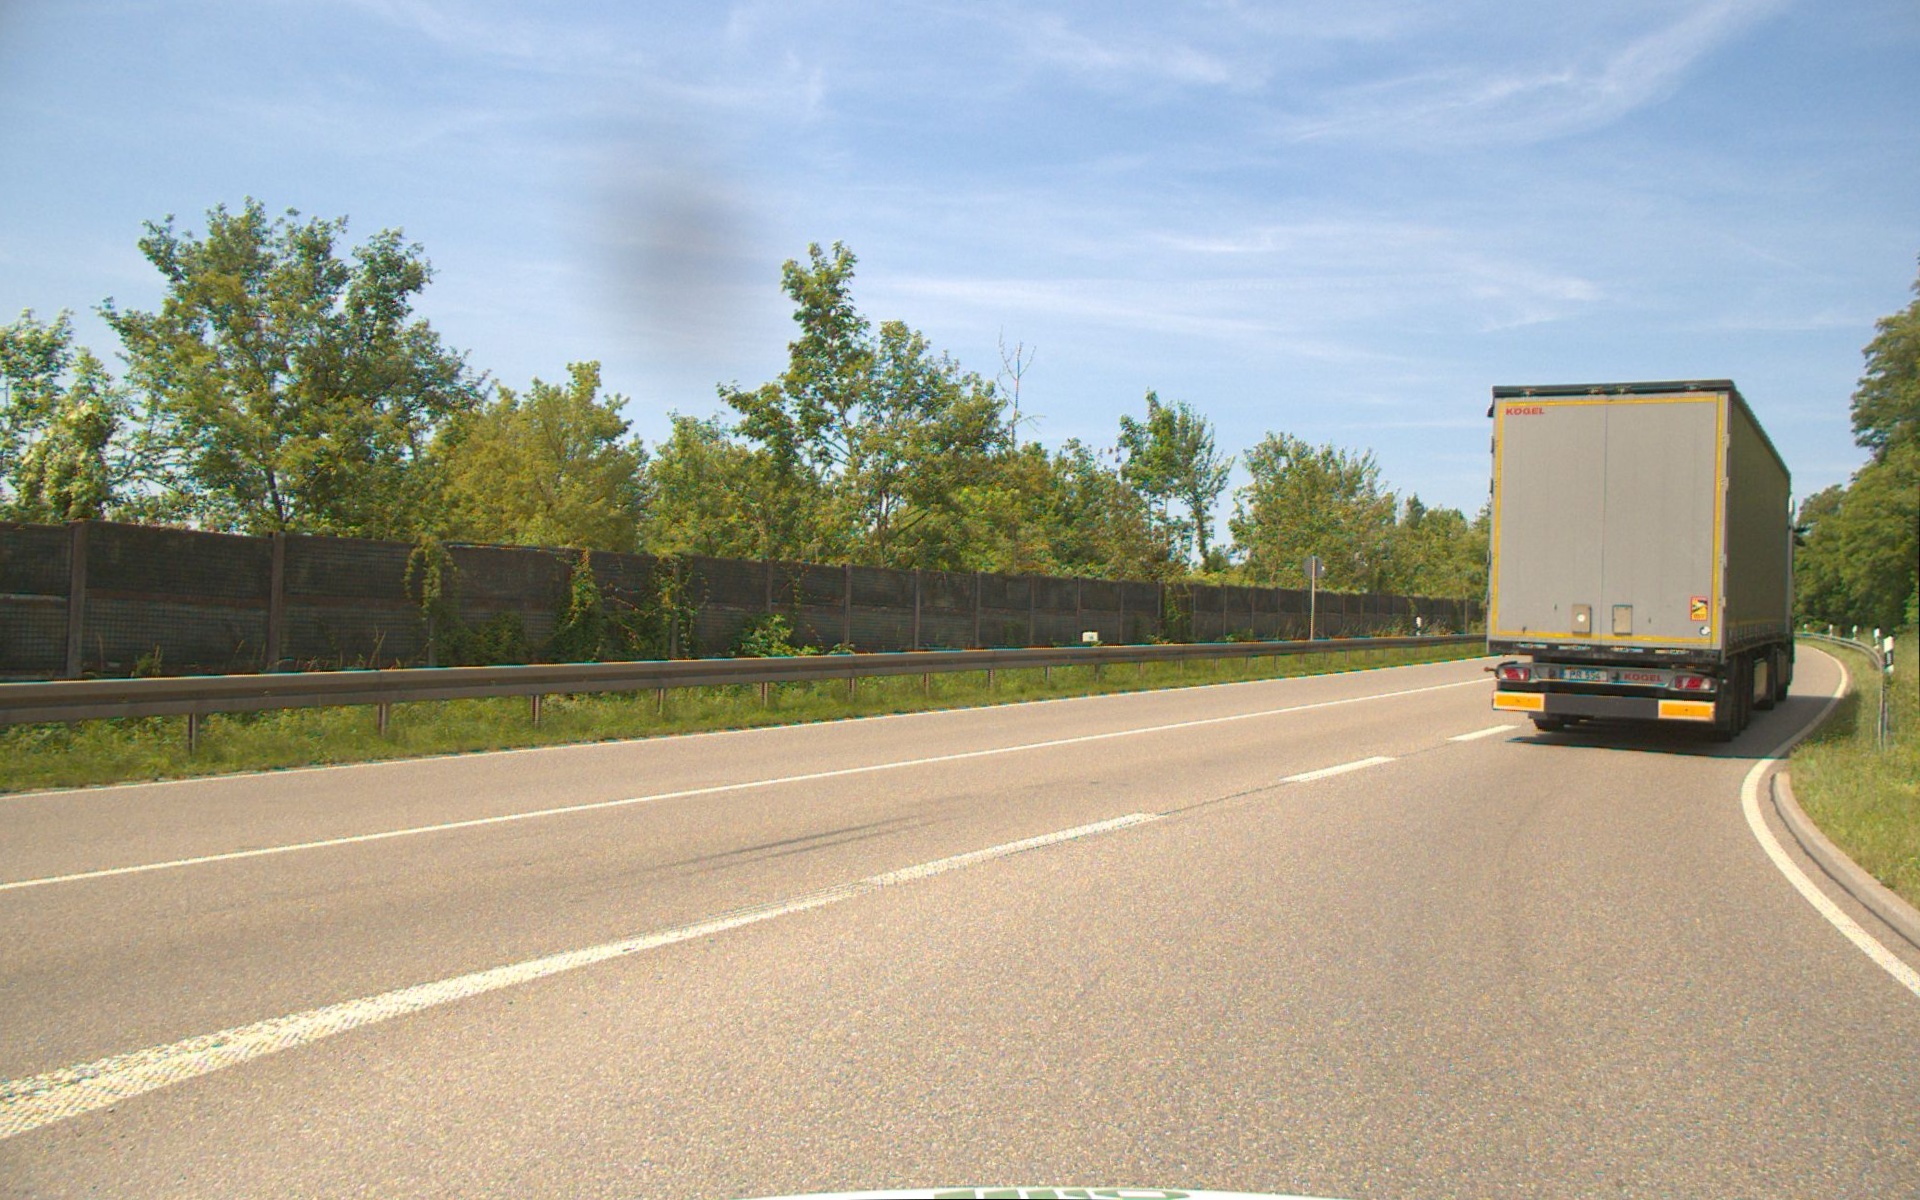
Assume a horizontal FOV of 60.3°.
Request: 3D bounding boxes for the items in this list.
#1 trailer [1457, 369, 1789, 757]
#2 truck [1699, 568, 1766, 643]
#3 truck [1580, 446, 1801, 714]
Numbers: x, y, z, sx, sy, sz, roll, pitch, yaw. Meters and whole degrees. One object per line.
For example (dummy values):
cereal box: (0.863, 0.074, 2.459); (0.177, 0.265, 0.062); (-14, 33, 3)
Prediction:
trailer: (10.181, -0.316, 24.093); (2.969, 4.105, 13.331); (1, 0, 28)
truck: (53.648, 0.447, 114.613); (3.754, 4.827, 16.185); (1, 0, 26)
truck: (13.613, -0.296, 30.459); (3.093, 4.298, 7.110); (1, 0, 29)
